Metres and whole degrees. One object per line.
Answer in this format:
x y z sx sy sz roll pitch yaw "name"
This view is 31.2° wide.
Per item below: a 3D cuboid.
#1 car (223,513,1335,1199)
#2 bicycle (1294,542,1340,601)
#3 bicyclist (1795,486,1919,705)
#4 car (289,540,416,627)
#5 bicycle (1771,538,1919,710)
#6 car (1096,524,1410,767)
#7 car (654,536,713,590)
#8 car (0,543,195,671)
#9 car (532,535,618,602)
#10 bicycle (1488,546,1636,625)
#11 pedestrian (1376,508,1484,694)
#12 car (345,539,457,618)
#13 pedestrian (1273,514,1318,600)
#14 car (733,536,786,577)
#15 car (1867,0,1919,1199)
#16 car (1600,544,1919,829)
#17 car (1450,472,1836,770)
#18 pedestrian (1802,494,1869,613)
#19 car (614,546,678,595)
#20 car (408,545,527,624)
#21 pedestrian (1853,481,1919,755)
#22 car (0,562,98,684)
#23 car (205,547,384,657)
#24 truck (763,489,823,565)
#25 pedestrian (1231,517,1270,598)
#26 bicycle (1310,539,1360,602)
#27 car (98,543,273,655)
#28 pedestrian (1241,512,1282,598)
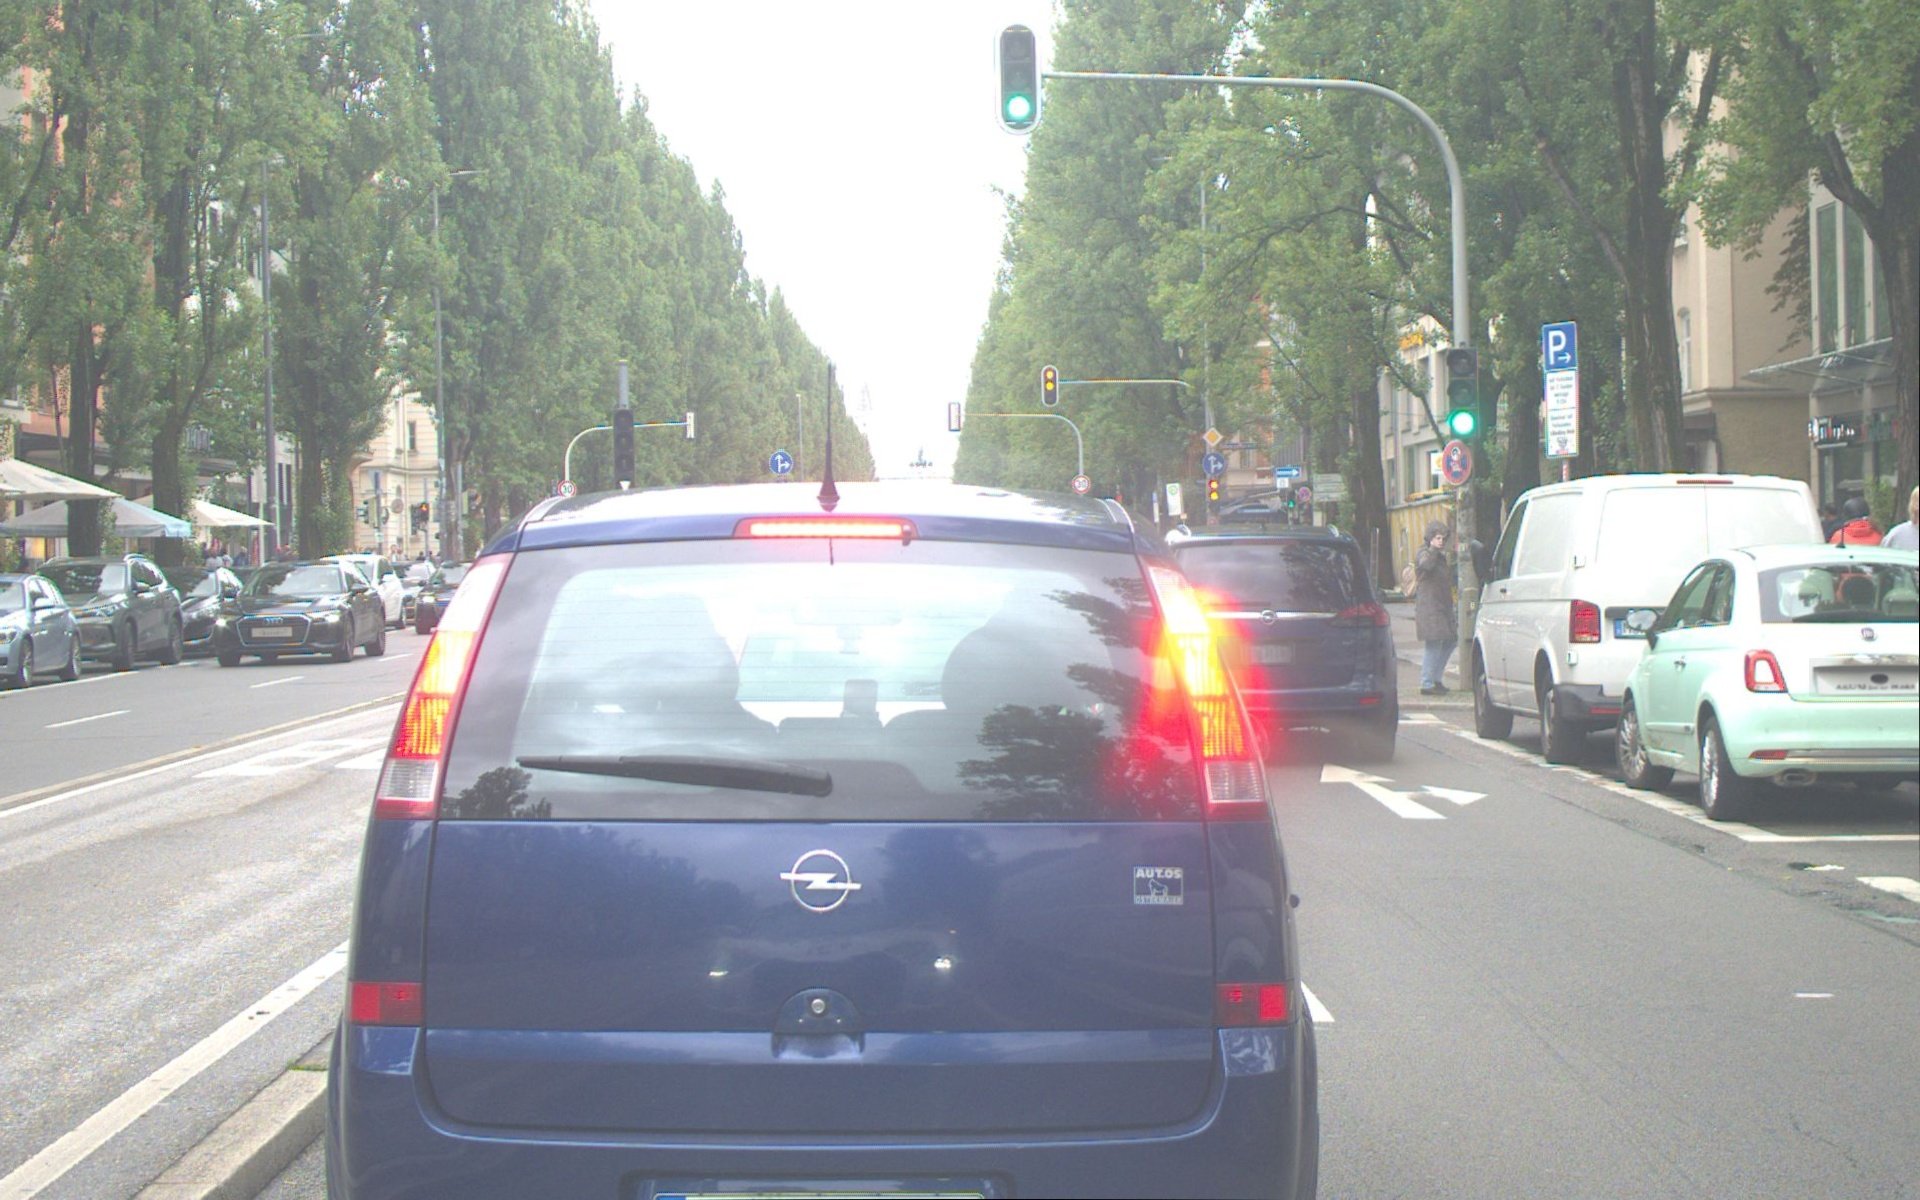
-0.286 0.613 7.182 1.671 1.563 4.000 0 1 0 "car"
8.440 -0.684 81.431 0.772 1.344 2.449 -1 1 -1 "bicycle"
7.359 -0.041 28.218 0.767 1.760 0.885 -1 1 -1 "bicyclist"
-12.527 -0.376 71.146 1.866 1.660 4.120 -2 1 -1 "car"
7.360 0.167 28.216 0.772 1.344 2.449 -1 1 -1 "bicycle"
2.028 0.266 24.844 1.896 1.616 4.000 0 1 0 "car"
-10.621 -1.440 132.452 1.993 2.007 4.000 -1 1 -1 "car"
-12.361 0.063 49.088 1.866 1.660 4.401 -2 1 -1 "car"
-9.807 -0.826 87.759 1.770 1.629 4.456 -2 1 -1 "car"
9.585 -0.239 54.781 2.227 1.200 0.626 -1 1 -2 "bicycle"
4.318 0.001 31.594 0.859 1.678 0.627 -1 1 -3 "pedestrian"
-12.717 -0.513 78.420 1.866 1.660 4.120 -2 1 -1 "car"
7.165 -0.915 73.495 0.719 1.820 0.888 1 0 -10 "pedestrian"
-7.284 -1.586 125.281 1.735 1.460 3.365 -1 1 -1 "car"
2.475 0.275 2.028 2.063 2.484 6.730 0 1 0 "car"
4.773 0.425 19.743 1.541 1.487 3.523 0 1 0 "car"
4.799 0.092 24.802 1.787 1.939 4.731 0 1 -1 "car"
12.563 -0.660 49.357 0.673 1.680 0.759 -2 0 -5 "pedestrian"
-11.047 -1.061 121.140 1.866 1.660 4.120 -1 1 -1 "car"
-9.752 -0.331 68.330 1.745 1.429 4.130 -2 1 -1 "car"
6.383 0.108 22.619 0.827 1.767 0.870 -1 1 4 "pedestrian"
-12.274 0.286 43.412 1.733 1.421 4.144 -2 1 -1 "car"
-9.687 -0.007 50.389 1.697 1.457 4.713 -2 1 -1 "car"
-7.460 -3.271 154.604 2.383 3.335 7.111 -1 1 -1 "truck"
6.578 -0.958 77.790 0.636 1.820 0.888 1 0 -10 "pedestrian"
8.221 -0.650 75.374 0.772 1.344 2.449 -1 1 -1 "bicycle"
-12.425 -0.048 55.364 1.866 1.660 4.120 -2 1 -1 "car"
6.437 -0.963 73.449 0.636 1.820 0.888 1 0 -10 "pedestrian"
